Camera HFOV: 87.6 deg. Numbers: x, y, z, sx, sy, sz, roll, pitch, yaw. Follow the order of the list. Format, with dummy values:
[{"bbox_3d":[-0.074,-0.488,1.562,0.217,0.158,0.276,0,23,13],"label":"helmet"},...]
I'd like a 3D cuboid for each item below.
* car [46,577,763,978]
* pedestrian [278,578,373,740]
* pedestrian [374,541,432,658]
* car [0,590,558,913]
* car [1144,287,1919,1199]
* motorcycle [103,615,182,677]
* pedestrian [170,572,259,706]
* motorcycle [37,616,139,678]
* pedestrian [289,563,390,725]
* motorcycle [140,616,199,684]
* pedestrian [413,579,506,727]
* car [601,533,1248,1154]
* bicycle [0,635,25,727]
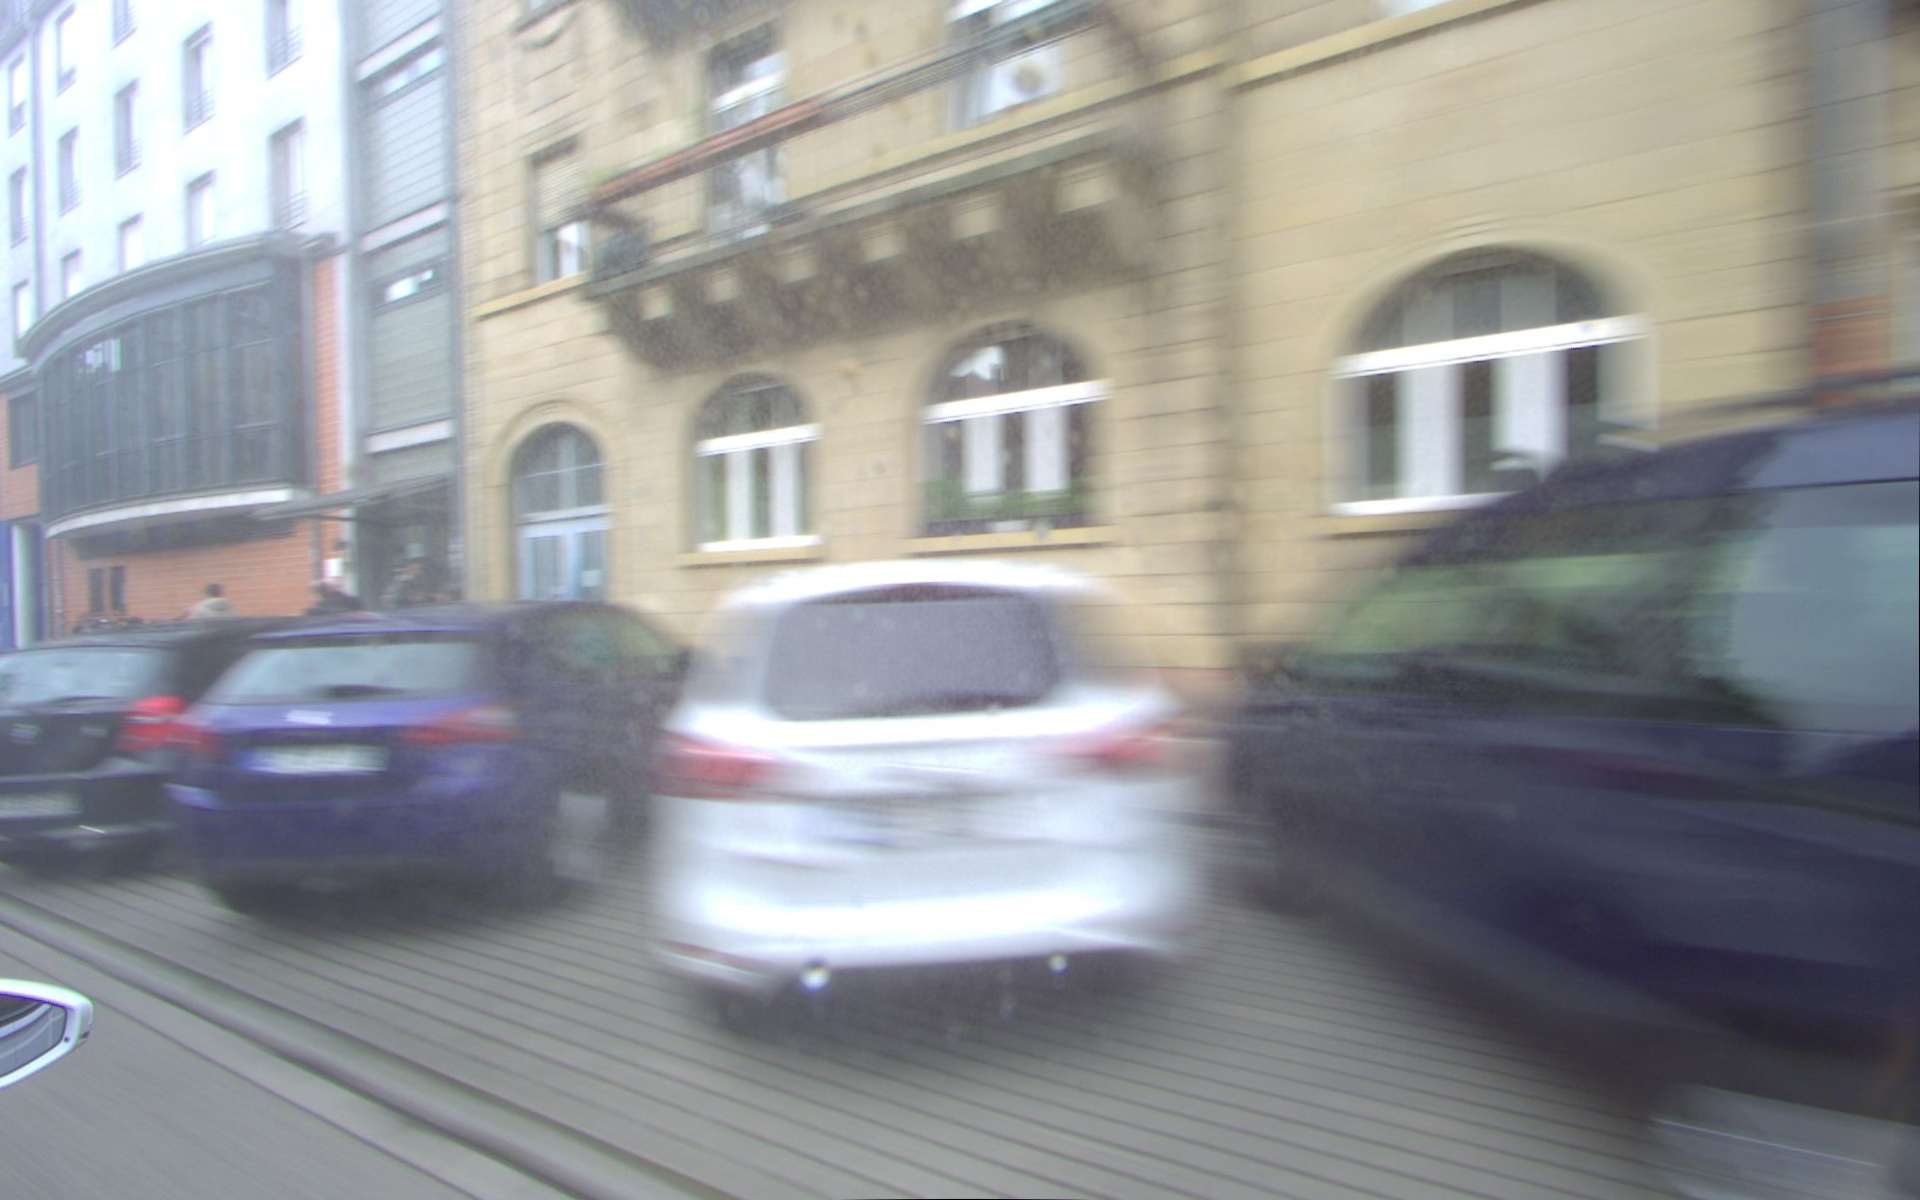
[{"bbox_3d":[-2.671,0.689,6.089,1.894,1.555,3.996,-1,3,4],"label":"car"},{"bbox_3d":[-6.838,0.617,10.796,0.706,1.684,0.517,-2,1,30],"label":"pedestrian"},{"bbox_3d":[-8.391,0.008,15.080,0.619,1.711,0.506,-2,-1,32],"label":"pedestrian"},{"bbox_3d":[-4.876,0.761,7.286,1.652,1.499,4.255,0,3,9],"label":"car"},{"bbox_3d":[2.168,0.419,3.180,1.844,1.933,4.277,-1,2,-8],"label":"car"},{"bbox_3d":[-16.249,0.896,19.891,2.041,1.159,0.599,-1,1,33],"label":"motorcycle"},{"bbox_3d":[-10.278,0.521,13.811,0.799,1.778,0.628,0,3,30],"label":"pedestrian"},{"bbox_3d":[-18.323,0.958,21.029,2.177,1.219,1.025,-1,1,33],"label":"motorcycle"},{"bbox_3d":[-7.251,0.496,11.714,0.706,1.822,0.666,-2,1,30],"label":"pedestrian"},{"bbox_3d":[-14.590,0.891,18.515,0.594,1.159,1.871,-2,1,-31],"label":"motorcycle"},{"bbox_3d":[-5.360,0.559,10.732,0.706,1.530,0.517,-2,1,30],"label":"pedestrian"},{"bbox_3d":[-0.286,0.563,4.701,1.732,1.624,3.995,-1,3,-7],"label":"car"},{"bbox_3d":[-12.603,1.021,12.128,1.703,1.119,0.729,-2,1,-9],"label":"bicycle"}]
